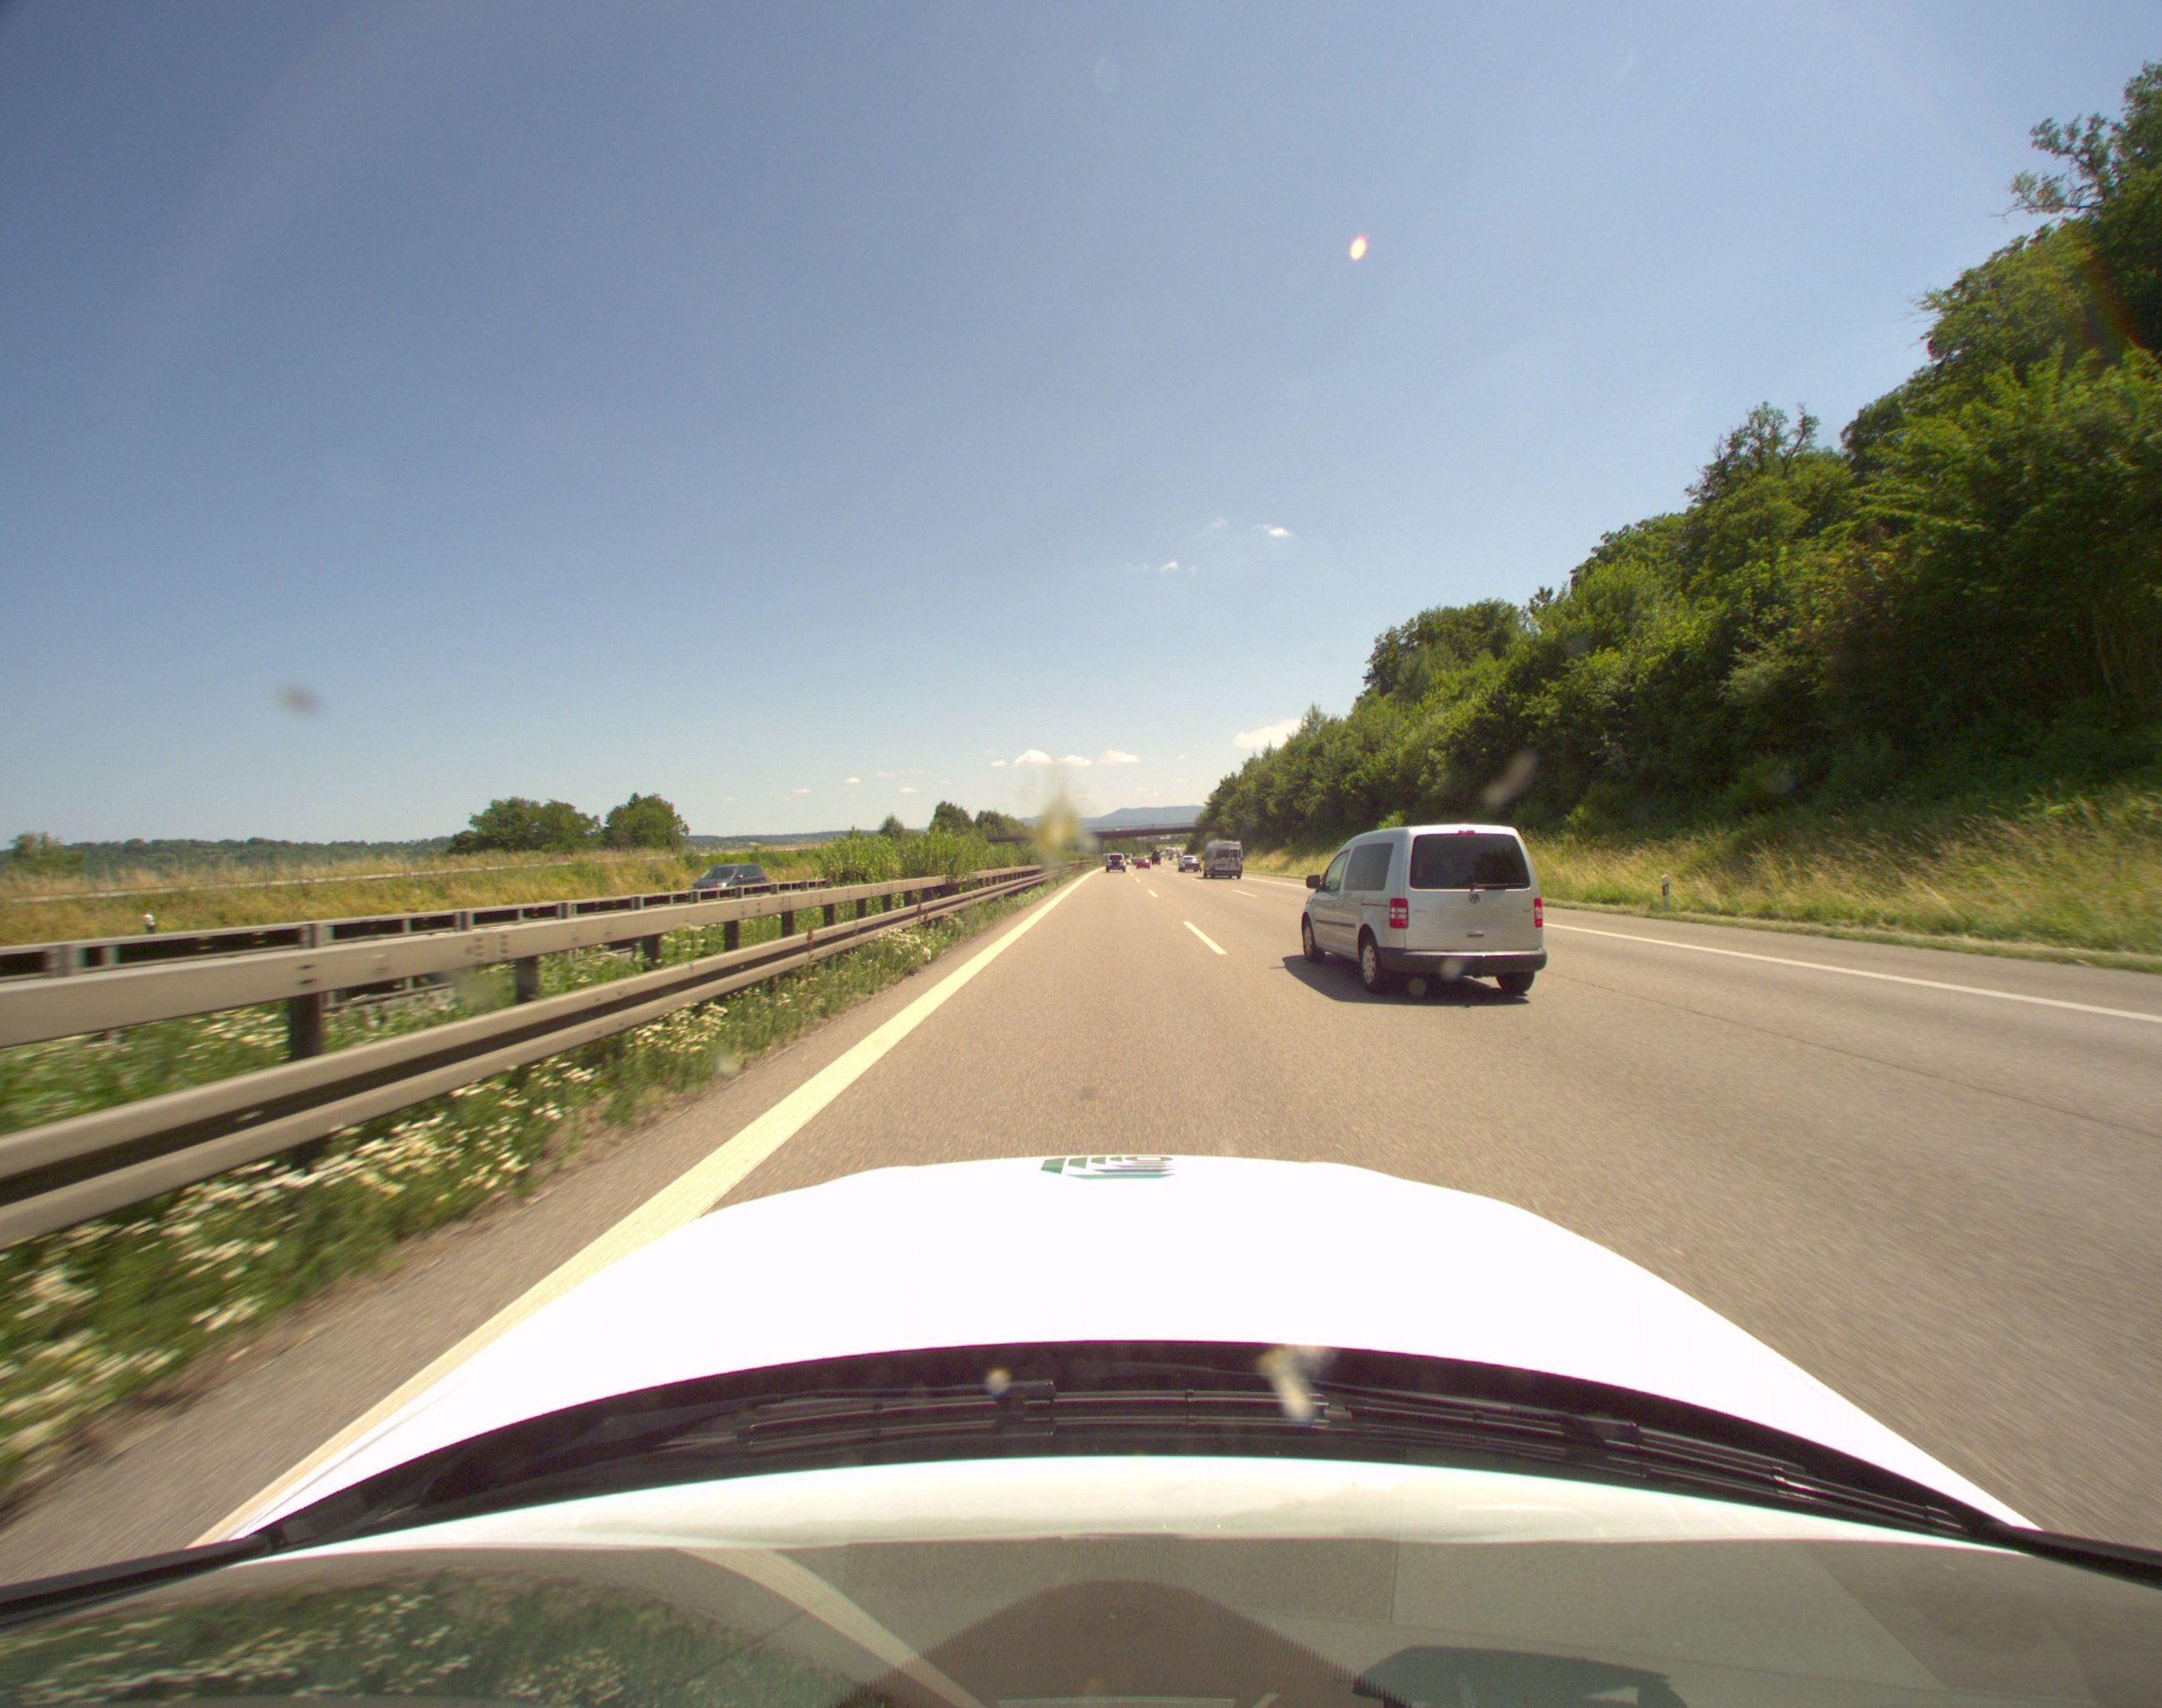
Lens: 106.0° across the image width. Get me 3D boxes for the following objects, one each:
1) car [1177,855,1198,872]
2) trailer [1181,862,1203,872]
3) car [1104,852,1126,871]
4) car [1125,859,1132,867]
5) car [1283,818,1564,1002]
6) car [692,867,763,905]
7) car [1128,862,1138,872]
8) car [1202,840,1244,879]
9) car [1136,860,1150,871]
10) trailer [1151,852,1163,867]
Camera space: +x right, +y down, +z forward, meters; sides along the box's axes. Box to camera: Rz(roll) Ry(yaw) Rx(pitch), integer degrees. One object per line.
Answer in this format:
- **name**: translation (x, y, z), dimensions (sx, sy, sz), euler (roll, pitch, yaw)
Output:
- **car**: translation (11.097, 0.999, 85.124), dimensions (1.774, 1.650, 4.405), euler (0, 0, 2)
- **trailer**: translation (10.948, 1.291, 80.756), dimensions (1.747, 0.908, 4.322), euler (0, 1, 2)
- **car**: translation (3.405, 0.705, 81.762), dimensions (2.074, 1.829, 4.758), euler (0, 0, 4)
- **car**: translation (12.701, 2.458, 218.245), dimensions (1.691, 2.013, 3.825), euler (0, 0, 3)
- **car**: translation (4.004, 0.537, 10.505), dimensions (1.739, 1.829, 4.803), euler (0, 0, 2)
- **car**: translation (-16.125, 1.442, 37.296), dimensions (1.553, 1.550, 3.696), euler (0, 0, 1)
- **car**: translation (10.678, 2.703, 166.345), dimensions (1.986, 2.013, 4.002), euler (0, 0, 2)
- **car**: translation (9.876, 0.311, 57.112), dimensions (2.081, 2.576, 6.627), euler (0, 0, 3)
- **car**: translation (8.277, 1.533, 109.060), dimensions (1.679, 1.379, 3.951), euler (0, 0, 2)
- **trailer**: translation (21.325, 1.397, 228.416), dimensions (2.840, 3.993, 15.428), euler (0, 0, 7)
